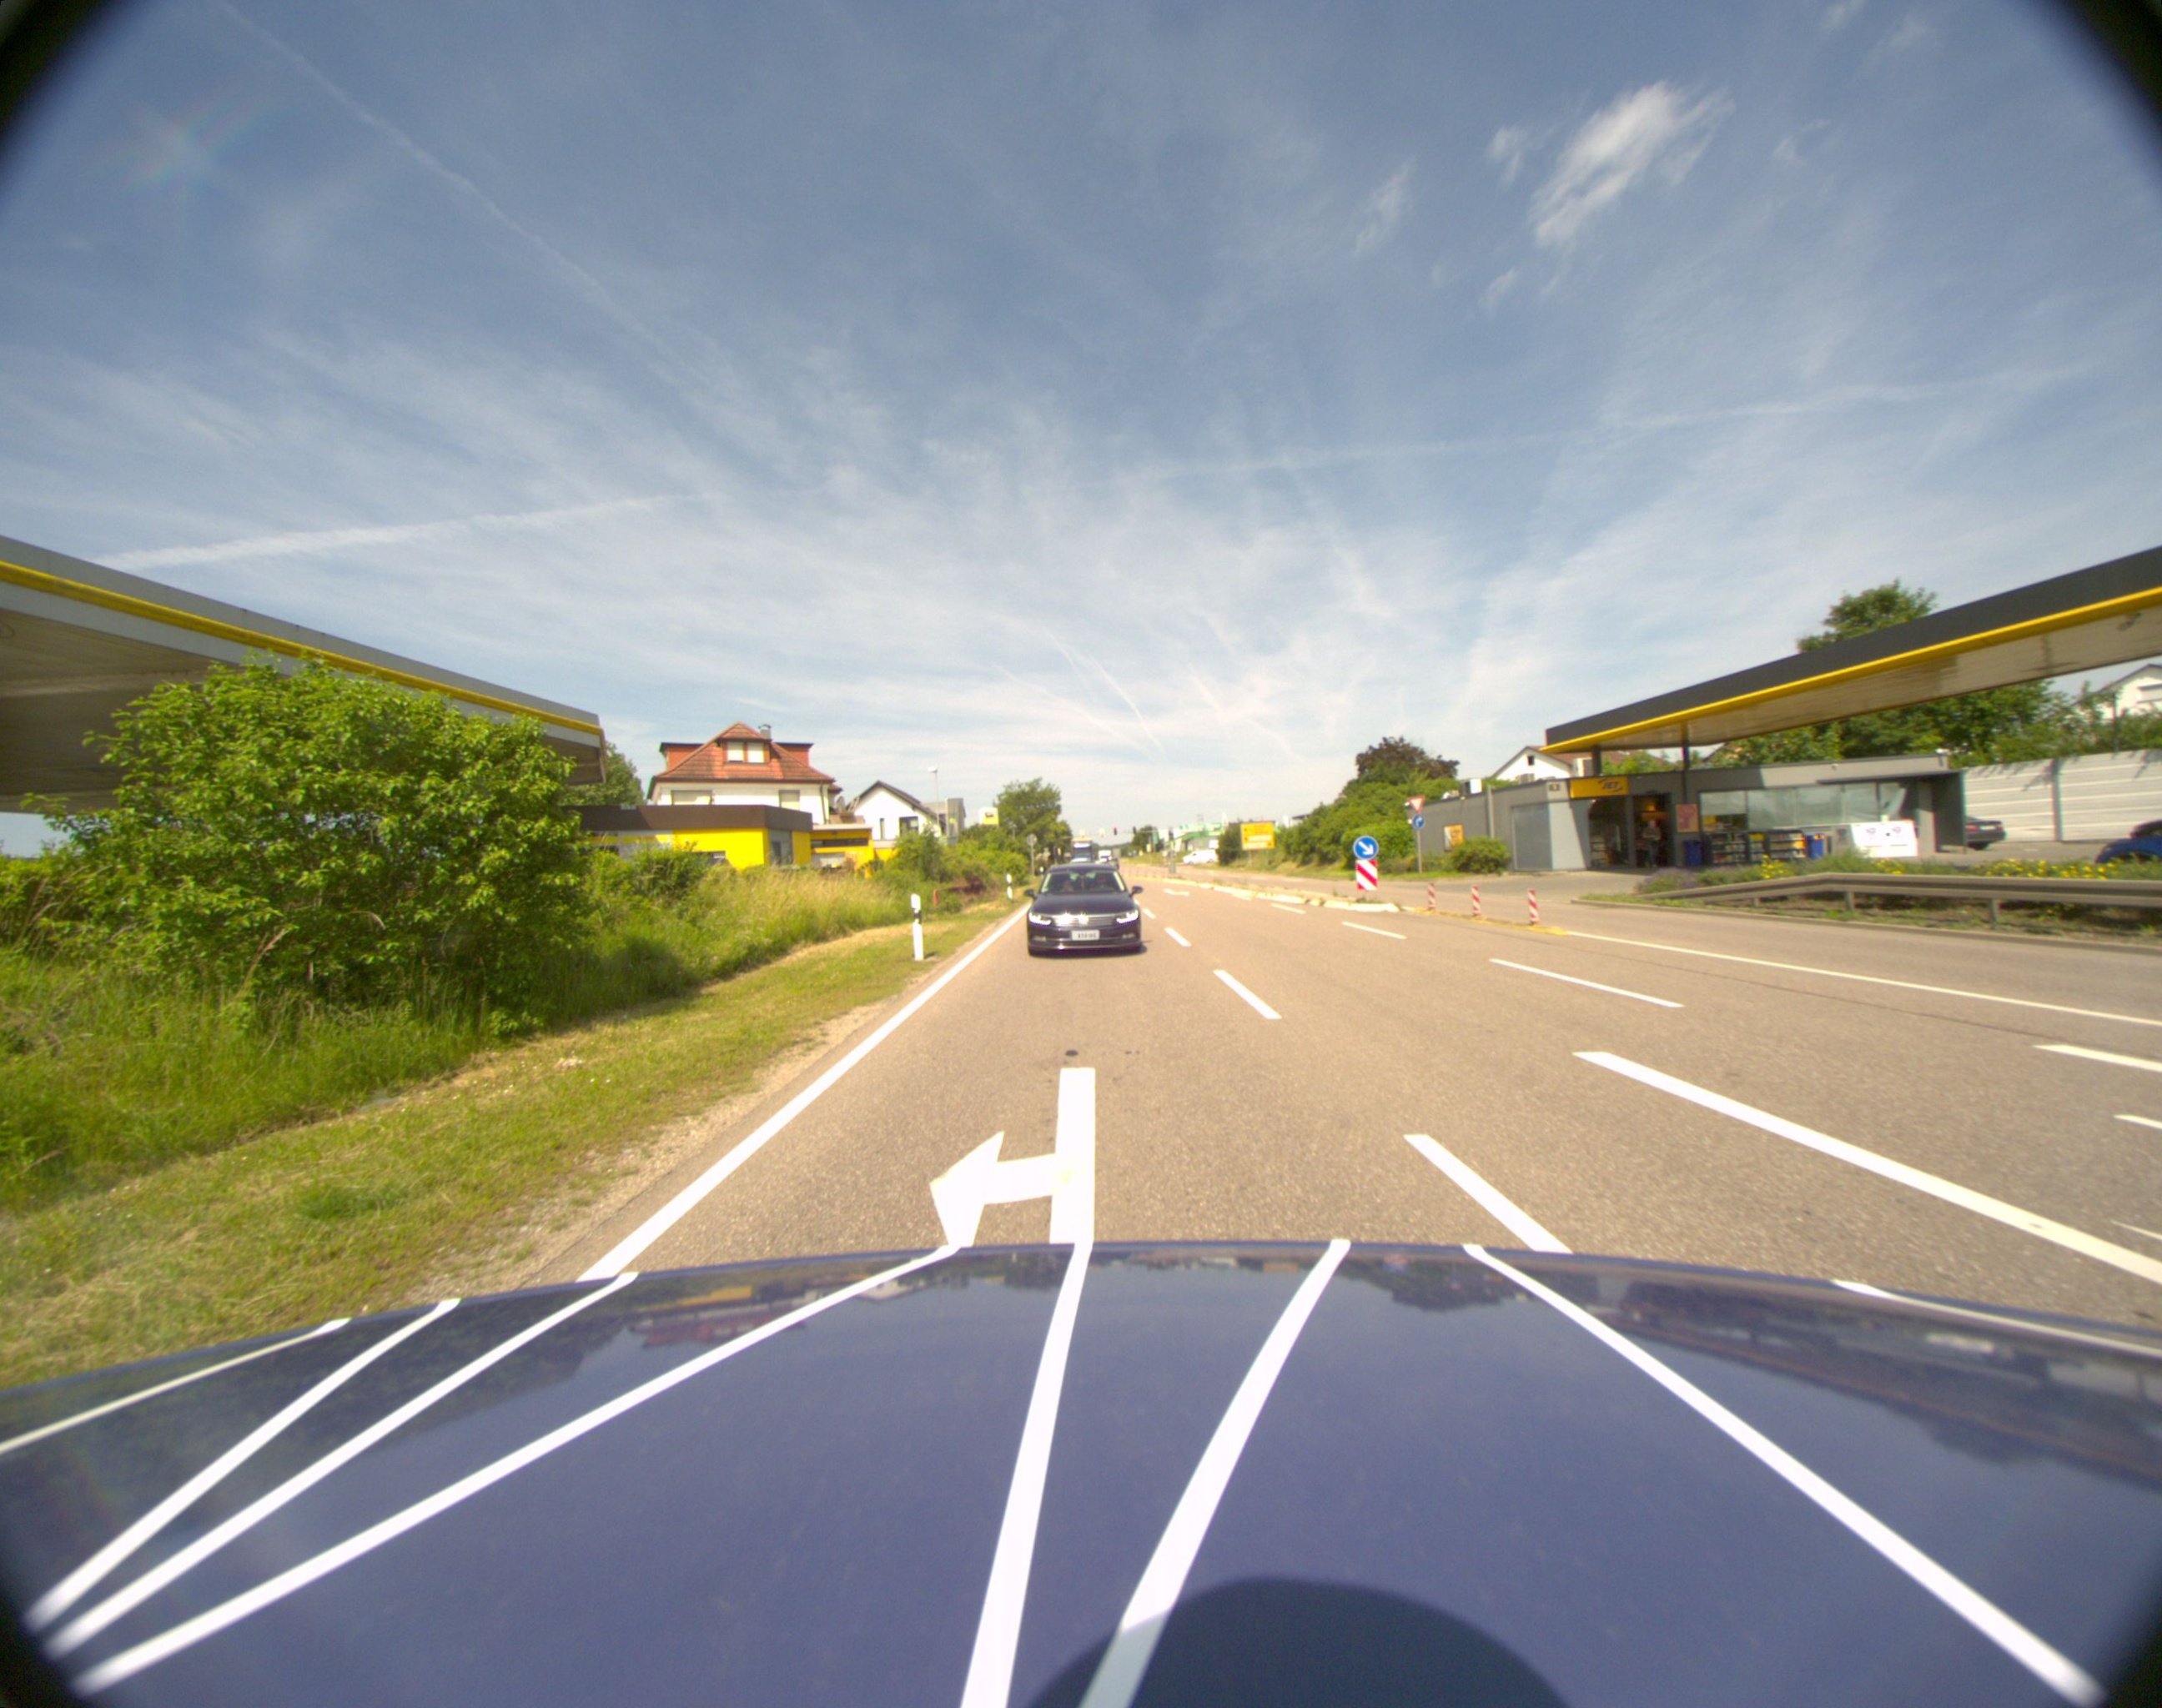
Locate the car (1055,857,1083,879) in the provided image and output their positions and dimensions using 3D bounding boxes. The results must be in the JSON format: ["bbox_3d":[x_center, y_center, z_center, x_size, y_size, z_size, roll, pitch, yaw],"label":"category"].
[{"bbox_3d":[-0.829,0.982,55.111,1.814,1.466,3.974,-3,0,1],"label":"car"}]

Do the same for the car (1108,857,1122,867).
[{"bbox_3d":[4.450,1.018,100.856,1.786,1.210,4.000,-3,0,2],"label":"car"}]

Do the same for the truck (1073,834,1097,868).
[{"bbox_3d":[0.616,-0.371,97.641,2.855,3.999,12.917,-2,0,1],"label":"truck"}]

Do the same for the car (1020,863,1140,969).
[{"bbox_3d":[0.039,0.968,13.916,1.756,1.493,4.925,-2,0,1],"label":"car"}]

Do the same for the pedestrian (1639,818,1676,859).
[{"bbox_3d":[20.590,-0.536,27.149,0.914,1.419,0.494,-2,1,11],"label":"pedestrian"}]

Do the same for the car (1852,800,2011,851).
[{"bbox_3d":[32.035,-1.036,28.805,1.619,1.724,3.987,-3,1,1],"label":"car"}]

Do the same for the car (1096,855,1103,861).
[{"bbox_3d":[5.162,1.052,209.892,1.847,1.477,4.001,-3,0,4],"label":"car"}]

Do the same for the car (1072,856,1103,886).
[{"bbox_3d":[0.313,0.874,40.986,1.471,1.451,3.796,-2,0,-2],"label":"car"}]

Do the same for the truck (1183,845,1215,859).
[{"bbox_3d":[19.239,-0.331,123.829,4.773,1.997,1.999,-3,0,-5],"label":"truck"}]

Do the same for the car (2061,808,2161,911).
[{"bbox_3d":[18.901,0.061,11.714,1.999,1.696,4.264,-2,0,-3],"label":"car"}]

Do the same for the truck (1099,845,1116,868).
[{"bbox_3d":[4.840,0.475,142.105,2.855,3.999,12.917,-2,0,1],"label":"truck"}]
